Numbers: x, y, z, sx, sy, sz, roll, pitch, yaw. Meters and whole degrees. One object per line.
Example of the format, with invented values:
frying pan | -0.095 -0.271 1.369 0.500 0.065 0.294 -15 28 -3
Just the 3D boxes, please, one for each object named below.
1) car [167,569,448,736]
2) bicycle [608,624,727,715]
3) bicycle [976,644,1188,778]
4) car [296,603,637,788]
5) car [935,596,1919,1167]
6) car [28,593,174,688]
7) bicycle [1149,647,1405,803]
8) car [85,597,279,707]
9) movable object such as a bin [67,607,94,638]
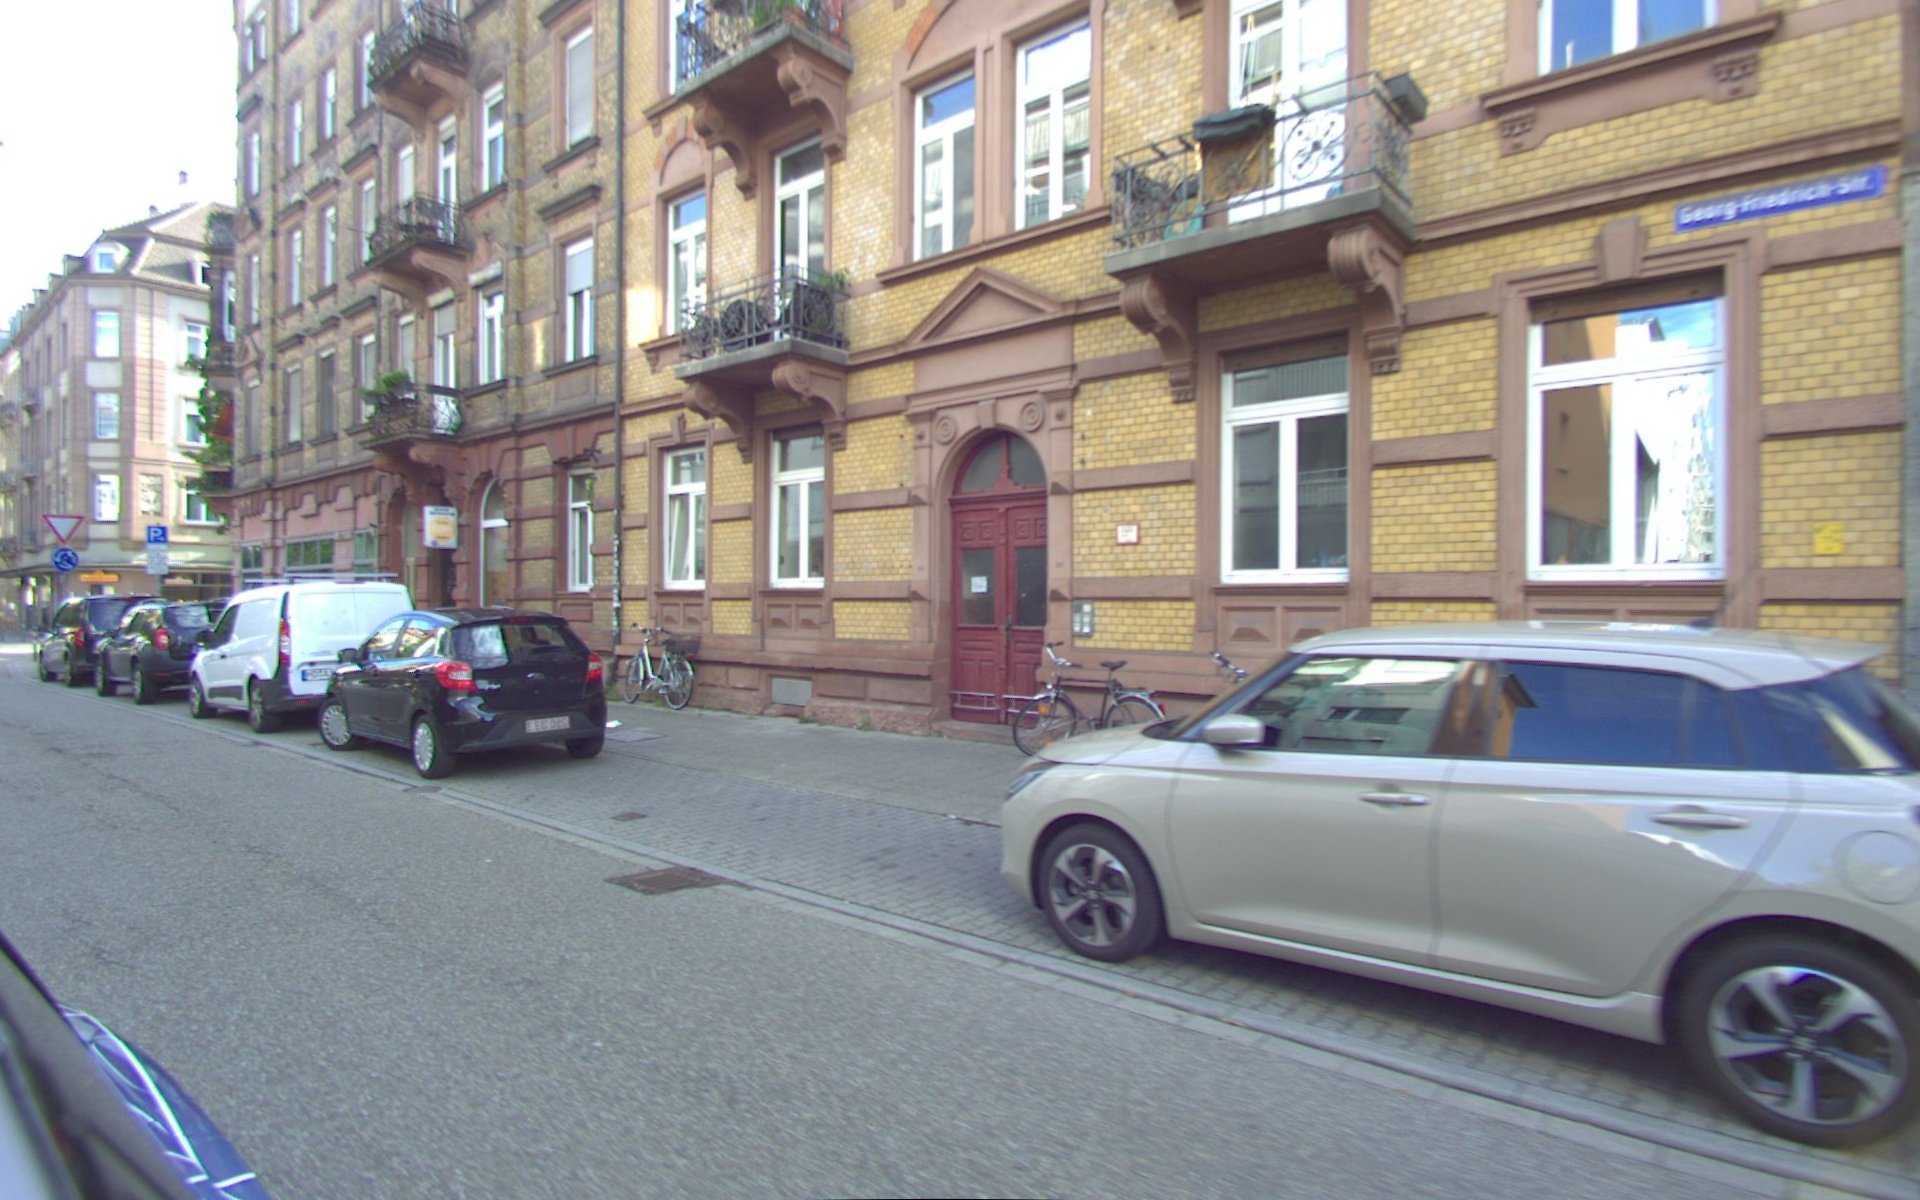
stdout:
car | -8.840 0.619 13.575 4.432 1.886 1.901 -1 -1 39
bicycle | -4.123 0.931 14.159 1.999 1.159 0.562 -1 1 40
bicycle | 1.110 0.972 9.415 1.771 1.044 0.845 -1 1 41
car | -5.147 0.797 10.335 3.982 1.494 1.723 0 1 41
car | 1.946 0.761 4.332 3.981 1.495 1.724 -1 0 41
car | -18.284 0.826 21.477 4.404 1.787 1.741 -2 0 42
bicycle | 2.537 0.941 8.200 1.771 1.045 0.888 -1 0 41
car | -13.535 0.832 17.524 4.145 1.650 1.972 -2 -1 42
movable object such as a bin | -20.866 0.539 23.996 0.475 0.719 0.379 -1 0 36
